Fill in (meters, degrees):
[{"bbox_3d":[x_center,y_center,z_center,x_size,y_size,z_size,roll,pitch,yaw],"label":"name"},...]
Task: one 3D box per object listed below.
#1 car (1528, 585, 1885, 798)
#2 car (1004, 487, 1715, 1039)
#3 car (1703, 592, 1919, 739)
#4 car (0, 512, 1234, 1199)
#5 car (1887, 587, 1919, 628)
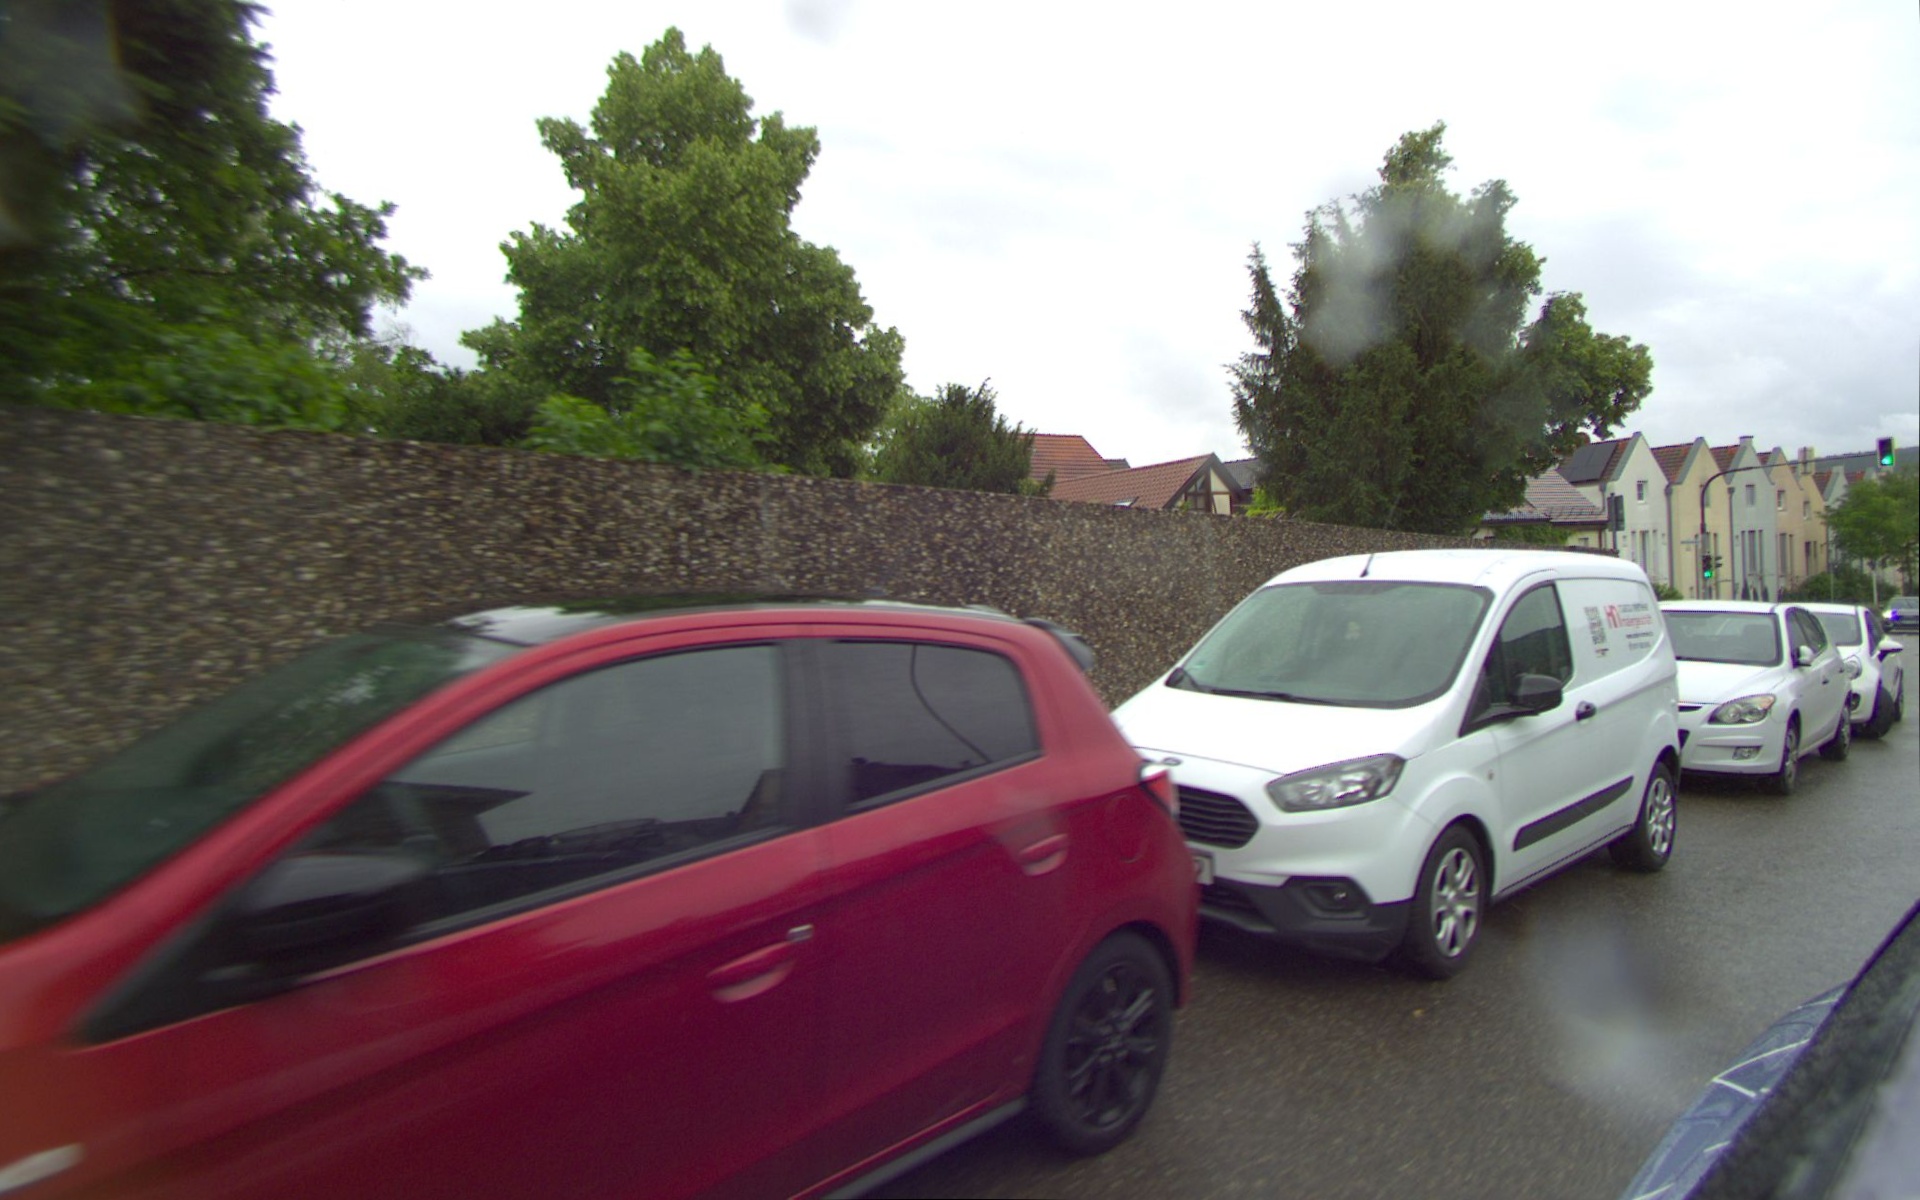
[{"bbox_3d":[6.717,0.671,8.959,3.929,1.481,1.648,1,-2,-40],"label":"car"},{"bbox_3d":[2.276,0.543,5.187,4.062,1.763,1.640,1,-2,-40],"label":"car"},{"bbox_3d":[10.550,0.675,12.364,3.969,1.499,1.613,-1,0,-43],"label":"car"},{"bbox_3d":[-1.052,0.620,2.335,3.602,1.473,1.586,0,1,-43],"label":"car"},{"bbox_3d":[39.520,0.273,41.467,3.934,1.549,1.995,-2,1,-44],"label":"car"}]
